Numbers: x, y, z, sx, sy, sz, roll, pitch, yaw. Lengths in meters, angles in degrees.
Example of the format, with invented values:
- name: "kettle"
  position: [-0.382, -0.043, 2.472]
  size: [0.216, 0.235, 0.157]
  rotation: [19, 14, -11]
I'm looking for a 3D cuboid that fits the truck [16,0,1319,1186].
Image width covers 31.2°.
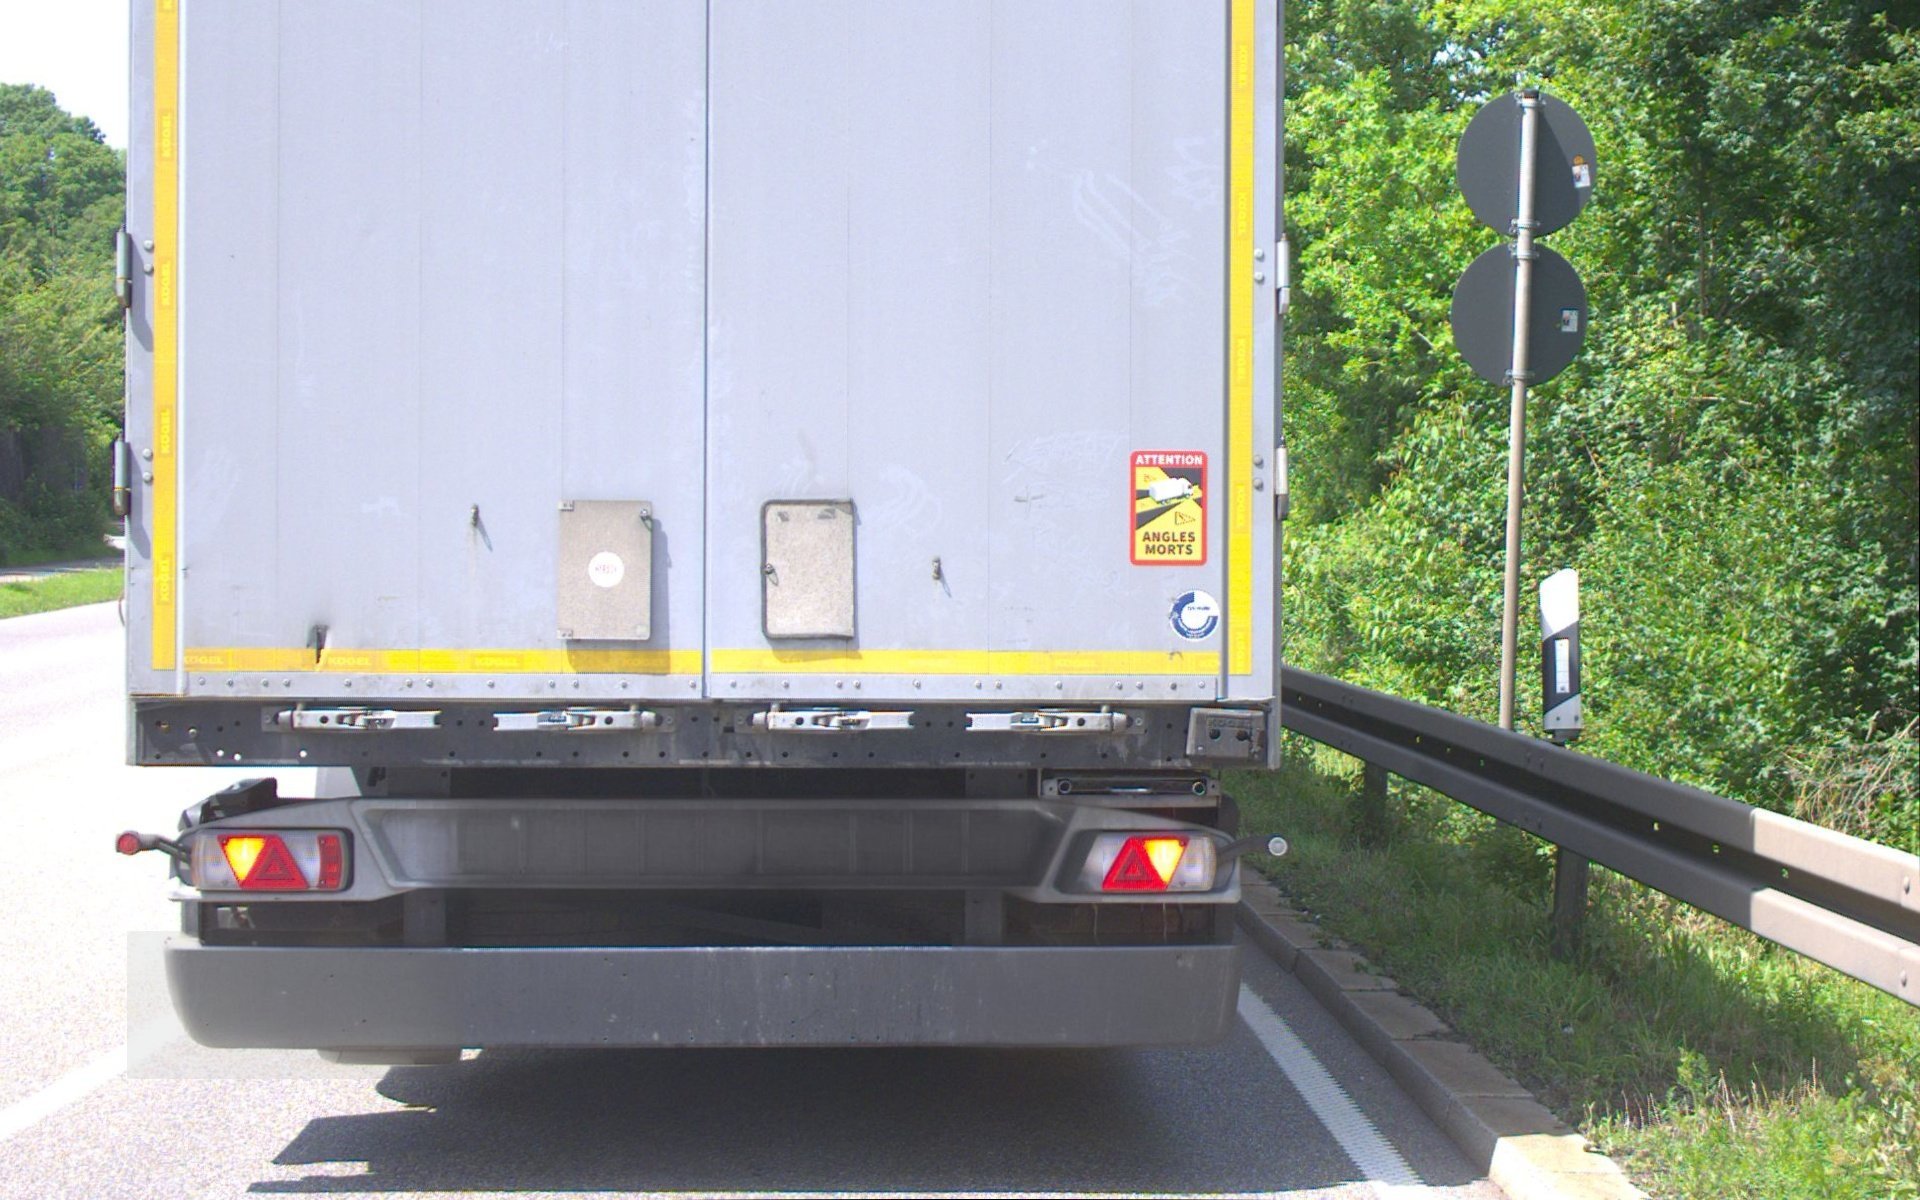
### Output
- name: "truck"
  position: [-0.756, -0.914, 13.254]
  size: [2.757, 4.016, 11.925]
  rotation: [0, 1, -1]
